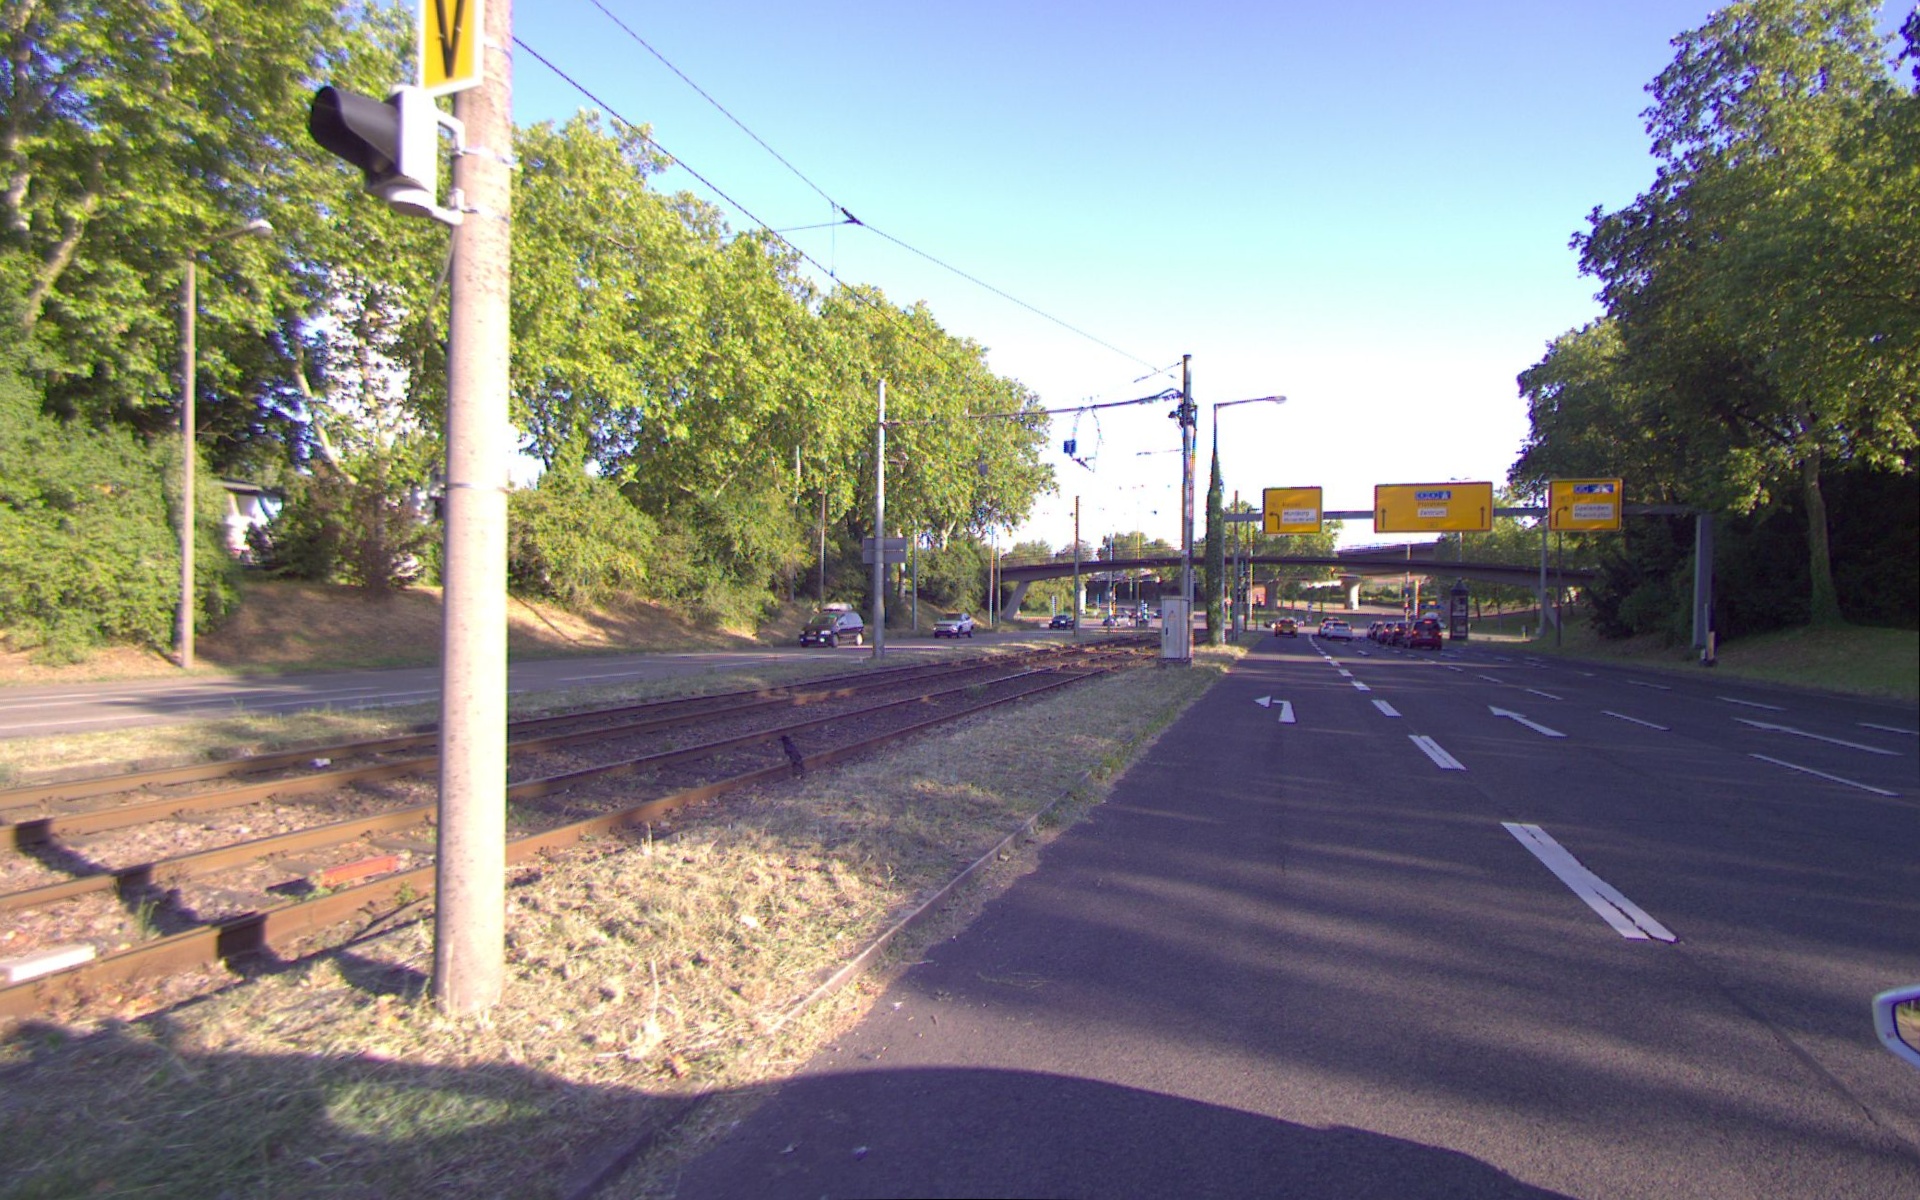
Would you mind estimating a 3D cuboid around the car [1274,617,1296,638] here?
[{"bbox_3d":[26.033,2.162,80.503,1.635,1.586,4.001,-1,-1,18],"label":"car"}]

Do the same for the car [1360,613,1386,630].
[{"bbox_3d":[35.805,1.846,87.139,1.762,1.461,4.001,-1,-1,18],"label":"car"}]

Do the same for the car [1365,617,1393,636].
[{"bbox_3d":[34.414,2.164,82.565,1.762,1.401,4.477,-1,-1,18],"label":"car"}]

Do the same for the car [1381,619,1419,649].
[{"bbox_3d":[27.996,2.131,64.008,1.762,1.773,4.241,-1,-1,18],"label":"car"}]

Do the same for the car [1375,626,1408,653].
[{"bbox_3d":[30.057,2.733,70.066,1.762,1.773,4.001,-1,-1,18],"label":"car"}]

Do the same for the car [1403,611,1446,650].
[{"bbox_3d":[26.696,1.734,57.860,1.762,2.133,4.001,-1,-1,18],"label":"car"}]

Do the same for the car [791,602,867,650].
[{"bbox_3d":[-6.285,1.230,48.494,1.961,2.191,4.191,-1,-1,19],"label":"car"}]

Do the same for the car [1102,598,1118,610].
[{"bbox_3d":[23.146,0.584,154.875,1.847,1.795,4.001,2,0,17],"label":"car"}]

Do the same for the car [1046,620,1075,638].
[{"bbox_3d":[10.046,2.863,100.395,1.961,1.703,4.191,-1,-1,19],"label":"car"}]

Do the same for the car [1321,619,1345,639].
[{"bbox_3d":[30.744,2.383,82.800,1.713,1.451,4.411,2,0,20],"label":"car"}]

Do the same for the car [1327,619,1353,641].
[{"bbox_3d":[28.784,2.233,76.214,1.635,1.586,4.191,-1,-1,18],"label":"car"}]

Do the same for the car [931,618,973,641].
[{"bbox_3d":[-0.489,1.973,67.320,1.959,1.460,4.193,-1,-1,13],"label":"car"}]
